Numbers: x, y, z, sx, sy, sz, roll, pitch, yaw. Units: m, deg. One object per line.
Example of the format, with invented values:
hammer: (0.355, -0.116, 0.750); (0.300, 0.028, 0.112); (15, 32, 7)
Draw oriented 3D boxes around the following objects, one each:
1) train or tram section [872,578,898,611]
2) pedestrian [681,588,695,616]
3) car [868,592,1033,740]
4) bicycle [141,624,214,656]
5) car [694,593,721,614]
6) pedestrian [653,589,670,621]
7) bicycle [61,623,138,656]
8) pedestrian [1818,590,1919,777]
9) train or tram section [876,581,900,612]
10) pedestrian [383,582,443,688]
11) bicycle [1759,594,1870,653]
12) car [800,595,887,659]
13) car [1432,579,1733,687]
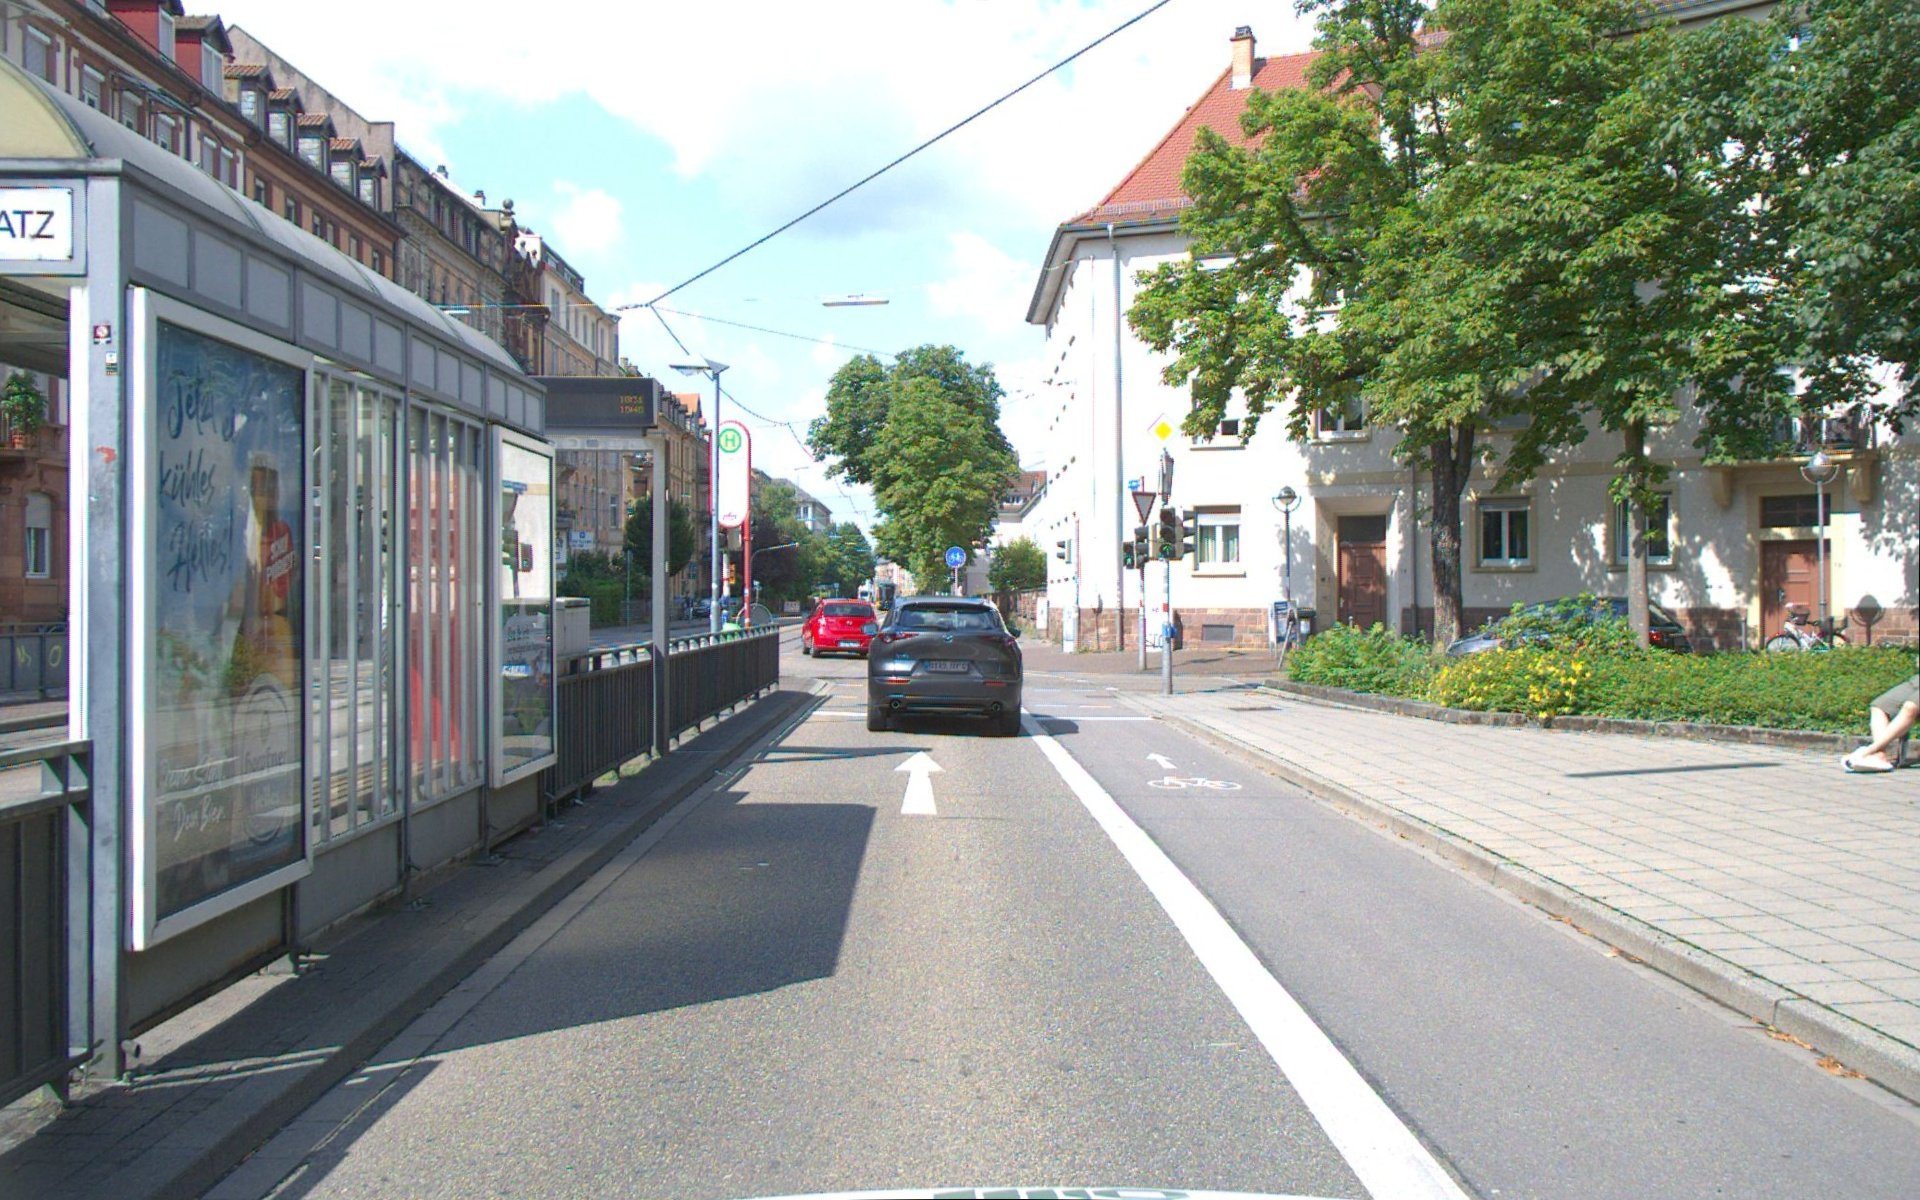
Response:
train or tram section: (-9.552, -0.669, 212.906); (2.936, 4.053, 13.805); (0, -1, -1)
pedestrian: (-16.664, 0.142, 101.310); (0.771, 1.718, 0.732); (0, 0, 1)
car: (-0.214, 0.718, 19.943); (1.747, 1.540, 3.997); (2, 0, -3)
bicycle: (-19.820, 0.995, 41.927); (0.378, 0.760, 1.705); (0, 0, 35)
car: (-19.994, 0.233, 131.107); (1.623, 1.624, 3.928); (0, 0, -2)
pedestrian: (-16.216, 0.271, 89.806); (0.771, 1.718, 0.732); (0, 0, 1)
bicycle: (-20.937, 0.953, 40.271); (0.378, 0.760, 1.705); (0, 0, 35)
pedestrian: (6.997, 0.582, 12.057); (1.169, 1.291, 0.557); (-2, 0, -6)
train or tram section: (-9.812, -0.476, 226.697); (2.936, 4.053, 13.805); (0, -1, -1)
pedestrian: (-8.921, 0.556, 27.004); (0.755, 1.704, 0.667); (0, 0, -2)
bicycle: (15.672, 0.417, 30.380); (0.561, 1.037, 1.730); (-3, 1, -37)
car: (-3.026, 0.658, 42.268); (1.743, 1.489, 3.832); (1, 0, -11)
car: (9.801, 0.476, 26.215); (4.097, 1.536, 1.841); (0, 2, 42)
